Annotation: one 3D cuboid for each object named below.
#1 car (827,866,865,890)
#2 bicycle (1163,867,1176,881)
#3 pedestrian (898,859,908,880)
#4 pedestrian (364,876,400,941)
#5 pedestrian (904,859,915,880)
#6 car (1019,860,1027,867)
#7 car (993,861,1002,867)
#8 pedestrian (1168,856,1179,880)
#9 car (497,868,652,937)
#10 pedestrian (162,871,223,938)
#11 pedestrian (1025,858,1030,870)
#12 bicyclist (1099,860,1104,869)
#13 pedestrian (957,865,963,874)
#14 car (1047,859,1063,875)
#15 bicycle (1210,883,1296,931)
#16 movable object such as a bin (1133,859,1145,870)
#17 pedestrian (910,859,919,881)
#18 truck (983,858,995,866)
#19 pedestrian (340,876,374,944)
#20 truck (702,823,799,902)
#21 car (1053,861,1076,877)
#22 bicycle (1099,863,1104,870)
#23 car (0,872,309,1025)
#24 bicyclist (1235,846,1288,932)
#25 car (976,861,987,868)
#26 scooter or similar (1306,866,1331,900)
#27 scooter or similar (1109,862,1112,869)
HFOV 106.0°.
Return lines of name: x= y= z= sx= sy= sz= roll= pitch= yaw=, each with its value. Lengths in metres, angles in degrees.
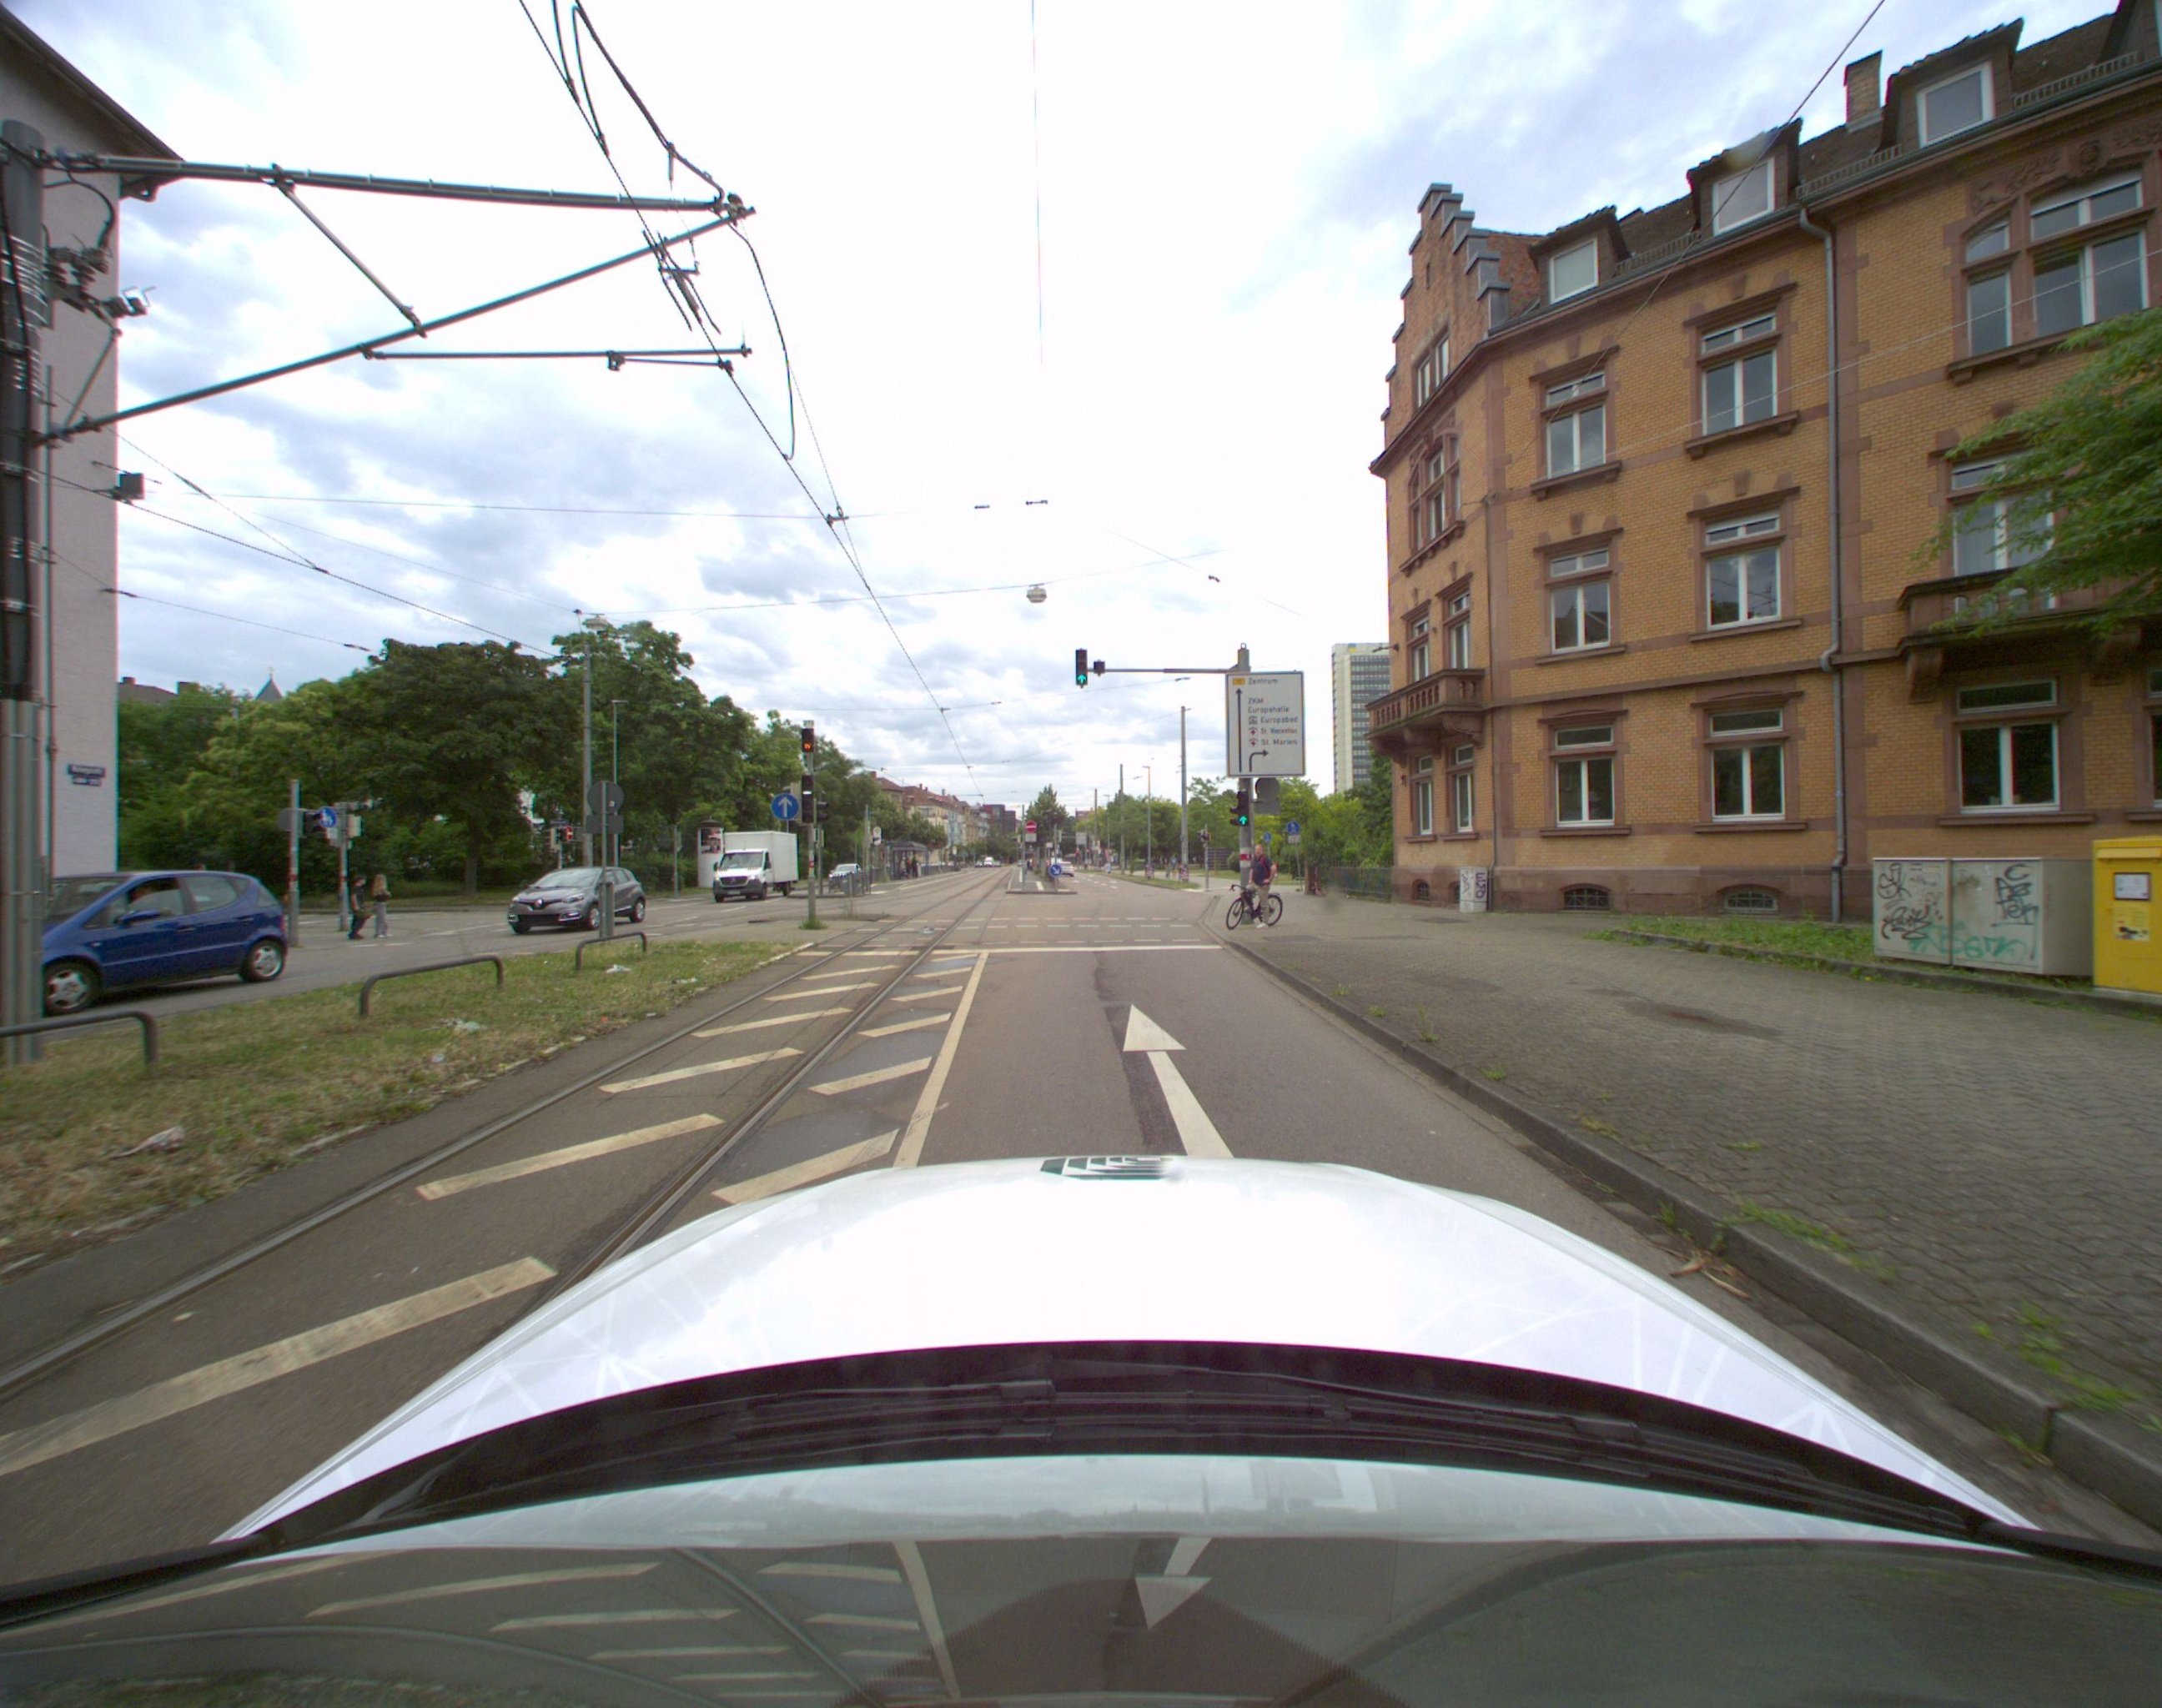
car: x=-16.535 y=1.665 z=57.453 sx=1.768 sy=1.639 sz=4.527 roll=-1 pitch=-1 yaw=-6
bicycle: x=6.840 y=1.539 z=62.806 sx=0.653 sy=1.003 sz=1.776 roll=-1 pitch=-1 yaw=-4
pedestrian: x=-13.866 y=1.234 z=63.354 sx=0.631 sy=1.624 sz=0.679 roll=-1 pitch=-1 yaw=-5
pedestrian: x=-17.092 y=1.318 z=19.913 sx=0.535 sy=1.558 sz=0.565 roll=-1 pitch=-1 yaw=-27
pedestrian: x=-13.992 y=1.284 z=66.520 sx=0.768 sy=1.660 sz=1.022 roll=-1 pitch=-1 yaw=-7
car: x=-13.712 y=2.231 z=191.803 sx=1.766 sy=1.493 sz=3.883 roll=-1 pitch=-1 yaw=-3
car: x=-21.111 y=2.621 z=205.589 sx=1.763 sy=1.493 sz=3.888 roll=-1 pitch=-1 yaw=2
pedestrian: x=7.153 y=1.081 z=62.893 sx=0.738 sy=1.869 sz=0.681 roll=-1 pitch=-1 yaw=-5
car: x=-12.577 y=1.137 z=20.559 sx=1.642 sy=1.534 sz=4.123 roll=-1 pitch=-1 yaw=-6
pedestrian: x=-25.922 y=1.442 z=23.773 sx=0.825 sy=1.874 sz=1.052 roll=-2 pitch=-1 yaw=31
pedestrian: x=-6.858 y=1.251 z=103.844 sx=0.530 sy=1.558 sz=0.570 roll=-1 pitch=-1 yaw=-1
bicyclist: x=3.464 y=1.792 z=138.579 sx=0.675 sy=1.379 sz=0.729 roll=-1 pitch=-1 yaw=6
pedestrian: x=-17.762 y=2.220 z=119.463 sx=0.864 sy=1.267 sz=0.692 roll=-1 pitch=-1 yaw=-7
car: x=-3.230 y=1.571 z=101.401 sx=1.779 sy=1.962 sz=4.375 roll=-1 pitch=0 yaw=-5
bicycle: x=3.748 y=1.129 z=17.696 sx=1.876 sy=0.924 sz=0.788 roll=0 pitch=-1 yaw=-37
movable object such as a bin: x=7.361 y=1.378 z=103.555 sx=1.279 sy=1.390 sz=1.157 roll=-1 pitch=-1 yaw=-4
pedestrian: x=-12.903 y=1.242 z=63.106 sx=0.700 sy=1.715 sz=0.696 roll=-1 pitch=-1 yaw=-13
truck: x=-21.628 y=1.904 z=191.545 sx=1.781 sy=2.033 sz=5.398 roll=-1 pitch=-1 yaw=2
pedestrian: x=-17.077 y=1.309 z=19.207 sx=0.536 sy=1.558 sz=0.564 roll=-1 pitch=-1 yaw=-36
truck: x=-14.566 y=0.406 z=36.437 sx=2.183 sy=3.157 sz=7.312 roll=-1 pitch=-1 yaw=-7
car: x=-1.660 y=1.441 z=79.633 sx=1.781 sy=1.472 sz=3.999 roll=-1 pitch=0 yaw=-8
bicycle: x=3.483 y=2.039 z=138.568 sx=0.675 sy=1.155 sz=1.901 roll=-1 pitch=0 yaw=7
car: x=-11.882 y=1.003 z=9.982 sx=1.642 sy=1.534 sz=3.621 roll=-1 pitch=-1 yaw=-7
bicyclist: x=3.874 y=0.725 z=17.522 sx=0.685 sy=1.795 sz=0.881 roll=0 pitch=-1 yaw=-36
car: x=-22.101 y=2.333 z=180.488 sx=1.763 sy=1.493 sz=3.888 roll=-1 pitch=-1 yaw=2
scooter or similar: x=8.242 y=1.005 z=28.346 sx=0.375 sy=1.141 sz=1.196 roll=-1 pitch=-1 yaw=-7
scooter or similar: x=4.713 y=1.800 z=129.601 sx=0.374 sy=1.141 sz=1.202 roll=-1 pitch=-1 yaw=7
